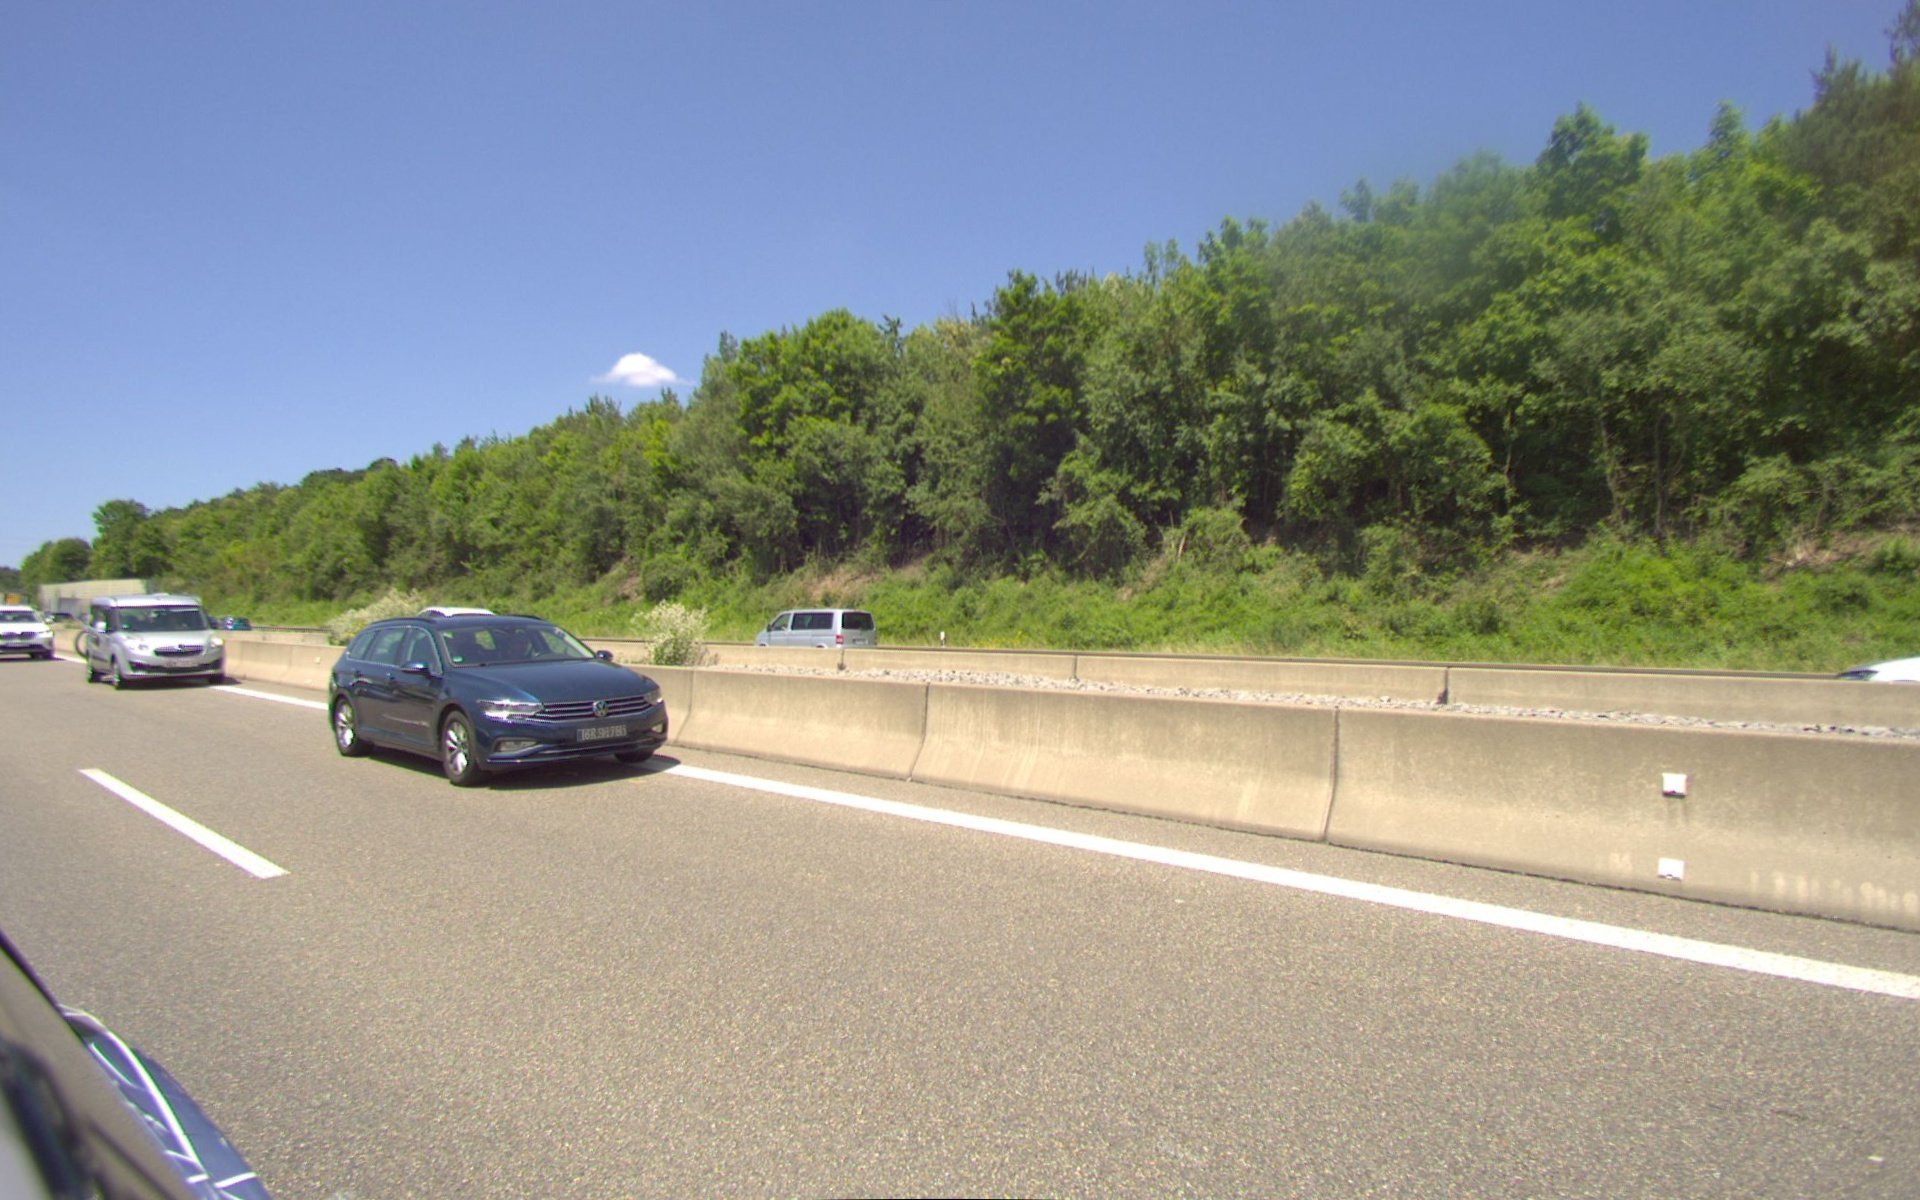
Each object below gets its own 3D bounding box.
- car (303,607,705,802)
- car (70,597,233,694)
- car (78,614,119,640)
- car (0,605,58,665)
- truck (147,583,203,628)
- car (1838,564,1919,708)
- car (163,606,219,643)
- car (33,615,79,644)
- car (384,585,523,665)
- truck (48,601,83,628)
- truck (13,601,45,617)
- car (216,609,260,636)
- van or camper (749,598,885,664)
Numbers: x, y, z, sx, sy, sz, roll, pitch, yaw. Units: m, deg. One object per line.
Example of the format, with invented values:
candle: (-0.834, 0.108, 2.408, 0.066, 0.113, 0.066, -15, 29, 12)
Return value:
car: (-4.652, 0.809, 9.943, 4.676, 1.461, 1.855, 0, 0, 41)
car: (-16.879, 0.833, 21.034, 4.916, 1.786, 1.833, 0, 0, 41)
car: (-66.387, 2.079, 77.965, 3.997, 1.962, 1.833, -1, -1, 41)
car: (-29.289, 1.026, 31.151, 3.998, 1.719, 1.800, 0, 0, 41)
truck: (-73.277, 0.474, 94.411, 7.987, 4.019, 2.664, 0, 0, 42)
car: (15.187, 0.515, 14.036, 4.474, 2.029, 1.971, 0, 0, 44)
car: (-44.760, 1.390, 58.880, 4.000, 2.029, 1.972, 0, 0, 43)
car: (-61.879, 1.989, 69.267, 3.998, 1.896, 1.887, 0, 0, 41)
car: (-13.946, 0.609, 27.766, 4.190, 2.029, 1.973, 0, 0, 41)
truck: (-102.748, 1.609, 116.176, 6.739, 2.906, 2.155, 0, 0, 41)
truck: (-123.418, 1.114, 134.158, 6.488, 2.029, 2.327, 0, 0, 40)
car: (-57.409, 1.799, 80.474, 3.997, 2.029, 1.973, 0, 0, 40)
van or camper: (-4.825, 0.951, 33.716, 4.680, 2.029, 1.972, 0, 0, 42)
